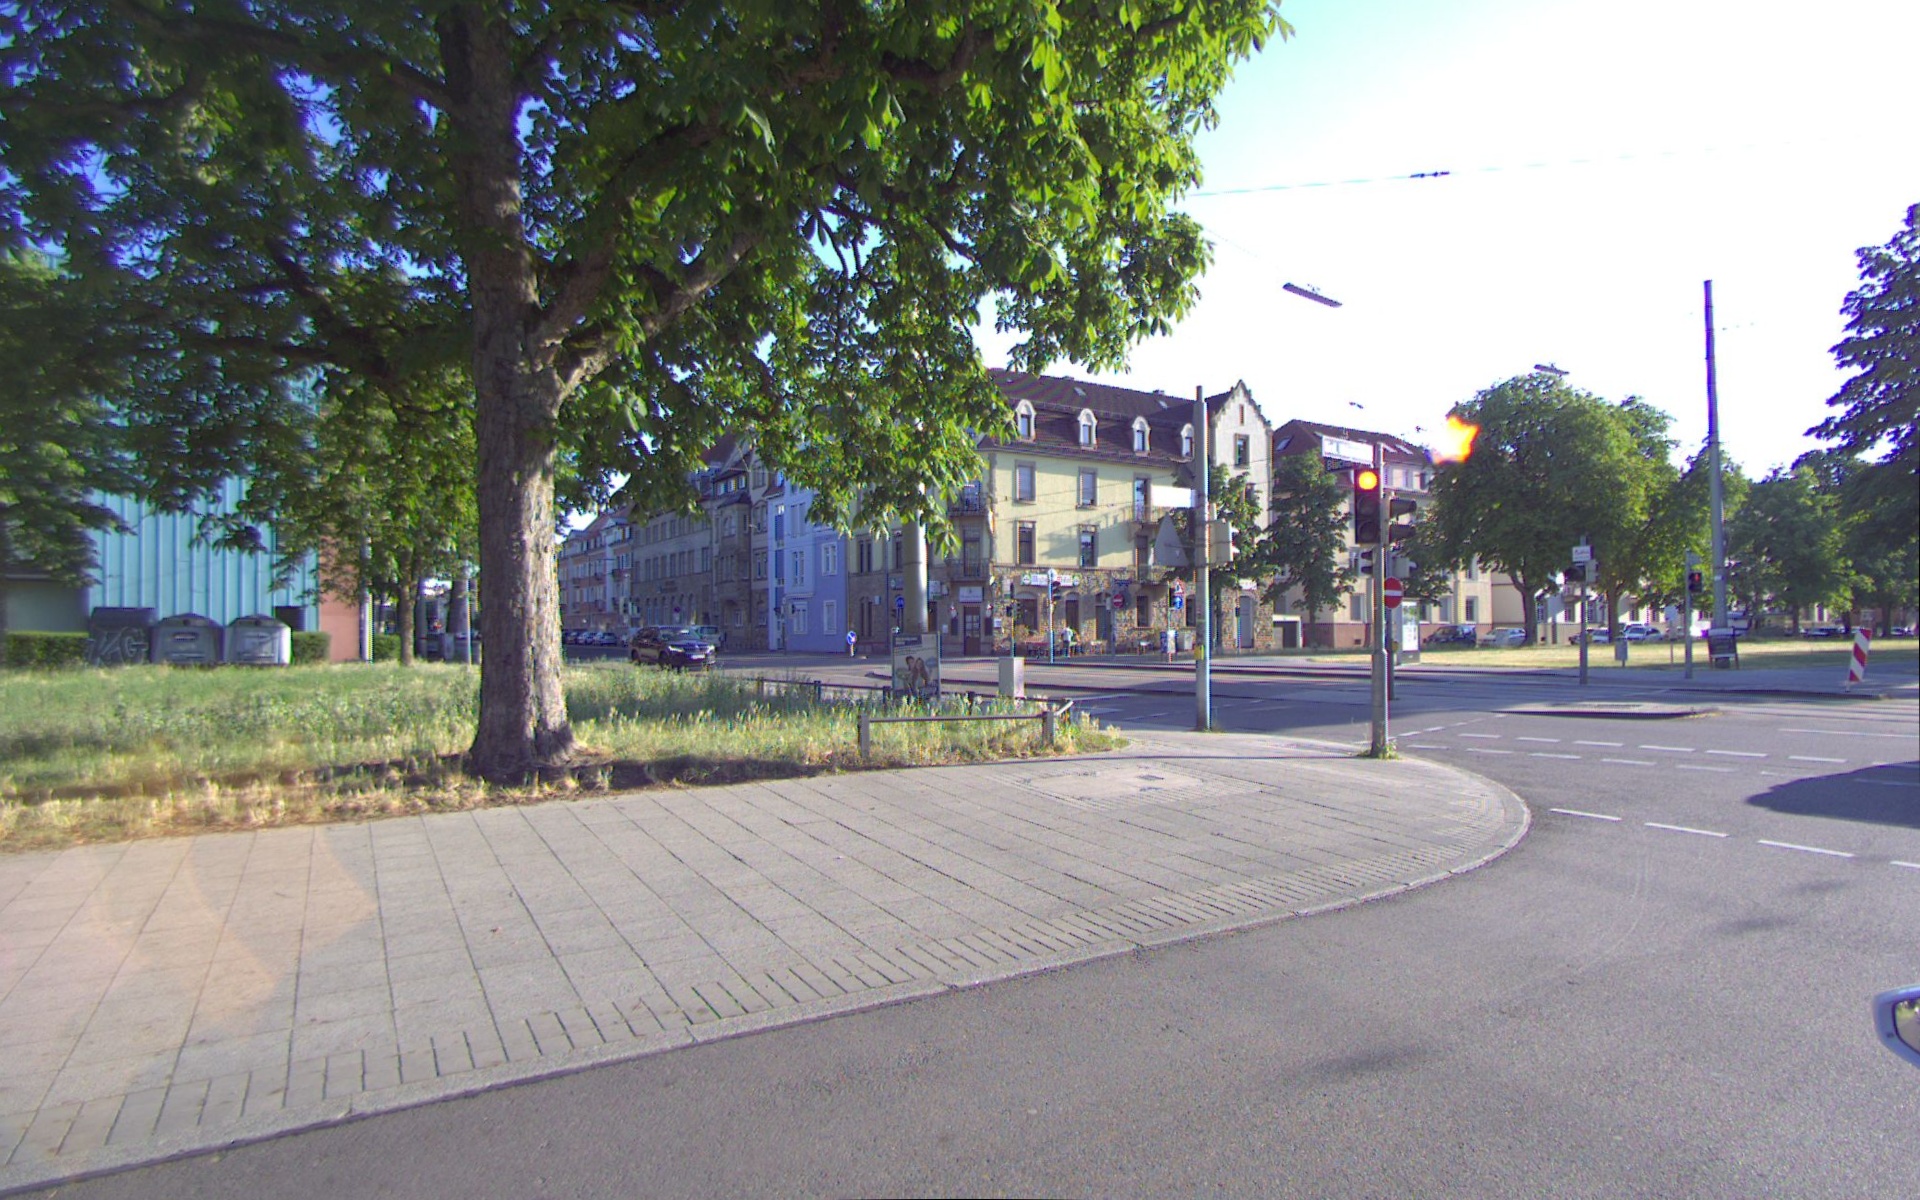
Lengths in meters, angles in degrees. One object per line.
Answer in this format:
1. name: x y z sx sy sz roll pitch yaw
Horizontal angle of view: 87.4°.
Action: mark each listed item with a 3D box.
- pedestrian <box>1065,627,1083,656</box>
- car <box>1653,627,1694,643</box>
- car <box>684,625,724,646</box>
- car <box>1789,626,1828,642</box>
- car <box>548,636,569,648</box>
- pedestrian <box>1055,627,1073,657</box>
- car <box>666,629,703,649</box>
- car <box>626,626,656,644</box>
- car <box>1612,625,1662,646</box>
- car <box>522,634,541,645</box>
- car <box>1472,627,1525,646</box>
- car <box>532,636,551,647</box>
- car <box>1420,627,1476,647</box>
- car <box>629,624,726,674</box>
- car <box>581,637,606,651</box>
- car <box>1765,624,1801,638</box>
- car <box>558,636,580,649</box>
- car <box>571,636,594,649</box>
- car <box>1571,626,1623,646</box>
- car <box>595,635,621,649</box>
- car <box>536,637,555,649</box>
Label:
1. pedestrian: 6.504 2.348 57.121 0.715 1.664 0.811 0 -1 -23
2. car: 65.848 3.223 92.718 3.749 1.446 1.729 1 -2 -31
3. car: -20.026 2.780 78.461 2.074 1.612 4.014 2 -2 -29
4. car: 80.140 3.177 94.917 3.749 1.446 1.729 1 -1 -31
5. car: -48.979 5.122 122.371 1.867 1.433 4.013 1 -2 -29
6. pedestrian: 5.802 2.324 56.216 0.713 1.664 0.814 -1 -1 31
7. car: -22.806 3.203 83.122 2.074 1.612 4.014 2 -2 -29
8. car: -30.065 3.302 94.491 1.888 1.610 4.013 2 -2 -29
9. car: 51.355 2.666 76.143 3.748 1.446 1.729 -1 0 -31
10. car: -57.577 5.332 134.918 1.867 1.433 4.013 1 -2 -29
11. car: 40.876 2.758 76.260 3.741 1.446 1.732 1 -1 -26
12. car: -54.648 5.378 131.114 1.867 1.433 4.013 1 -2 -29
13. car: 35.434 2.696 72.879 3.741 1.416 1.733 1 -2 -26
14. car: -10.389 1.745 36.701 1.863 1.685 4.513 1 -2 -38
15. car: -39.618 4.788 108.576 1.867 1.433 4.013 1 -2 -29
16. car: 86.059 3.199 105.044 3.749 1.446 1.729 1 -1 -31
17. car: -45.913 4.949 117.882 1.867 1.433 4.013 1 -2 -29
18. car: -42.709 4.805 113.488 1.867 1.433 4.013 1 -2 -29
19. car: 46.266 2.585 72.952 3.749 1.446 1.729 1 -1 -31
20. car: -36.442 4.330 103.886 1.867 1.299 4.013 1 -2 -29
21. car: -52.383 5.404 126.907 1.867 1.433 4.013 1 -1 -29
